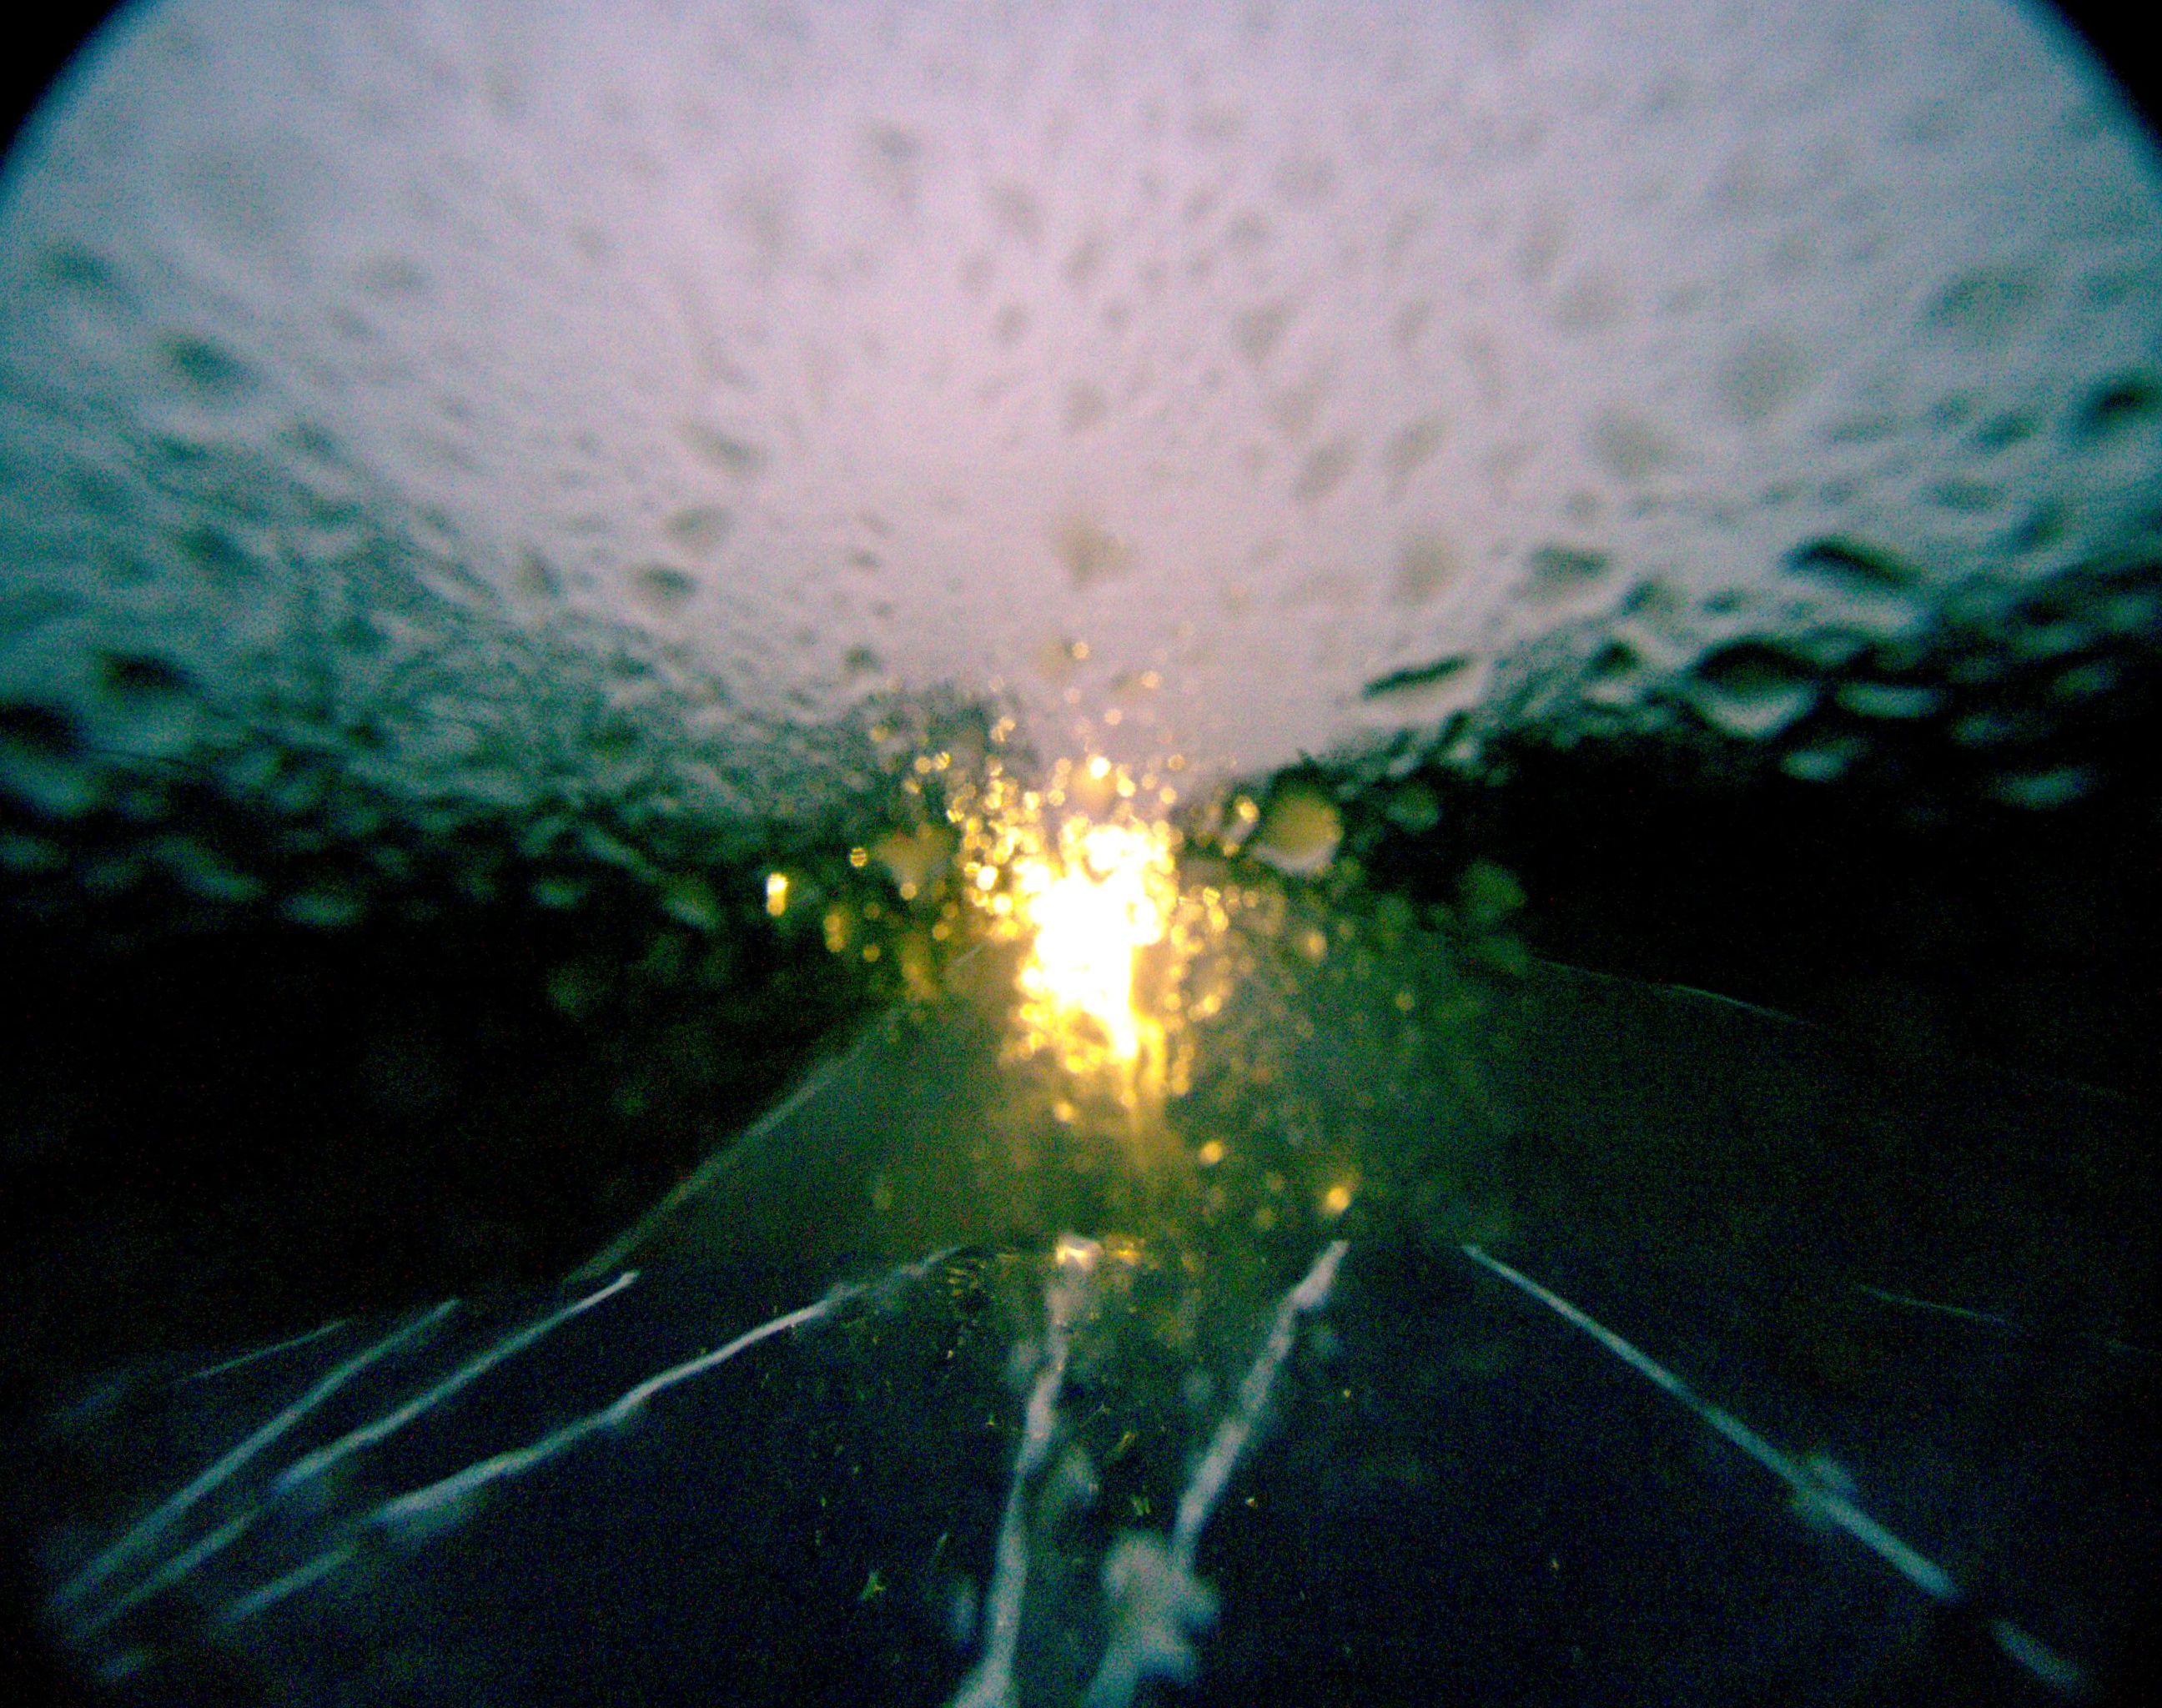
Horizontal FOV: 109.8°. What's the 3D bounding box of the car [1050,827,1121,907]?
[{"bbox_3d":[0.235,0.349,23.826,1.952,2.195,4.535,-2,0,3],"label":"car"}]
